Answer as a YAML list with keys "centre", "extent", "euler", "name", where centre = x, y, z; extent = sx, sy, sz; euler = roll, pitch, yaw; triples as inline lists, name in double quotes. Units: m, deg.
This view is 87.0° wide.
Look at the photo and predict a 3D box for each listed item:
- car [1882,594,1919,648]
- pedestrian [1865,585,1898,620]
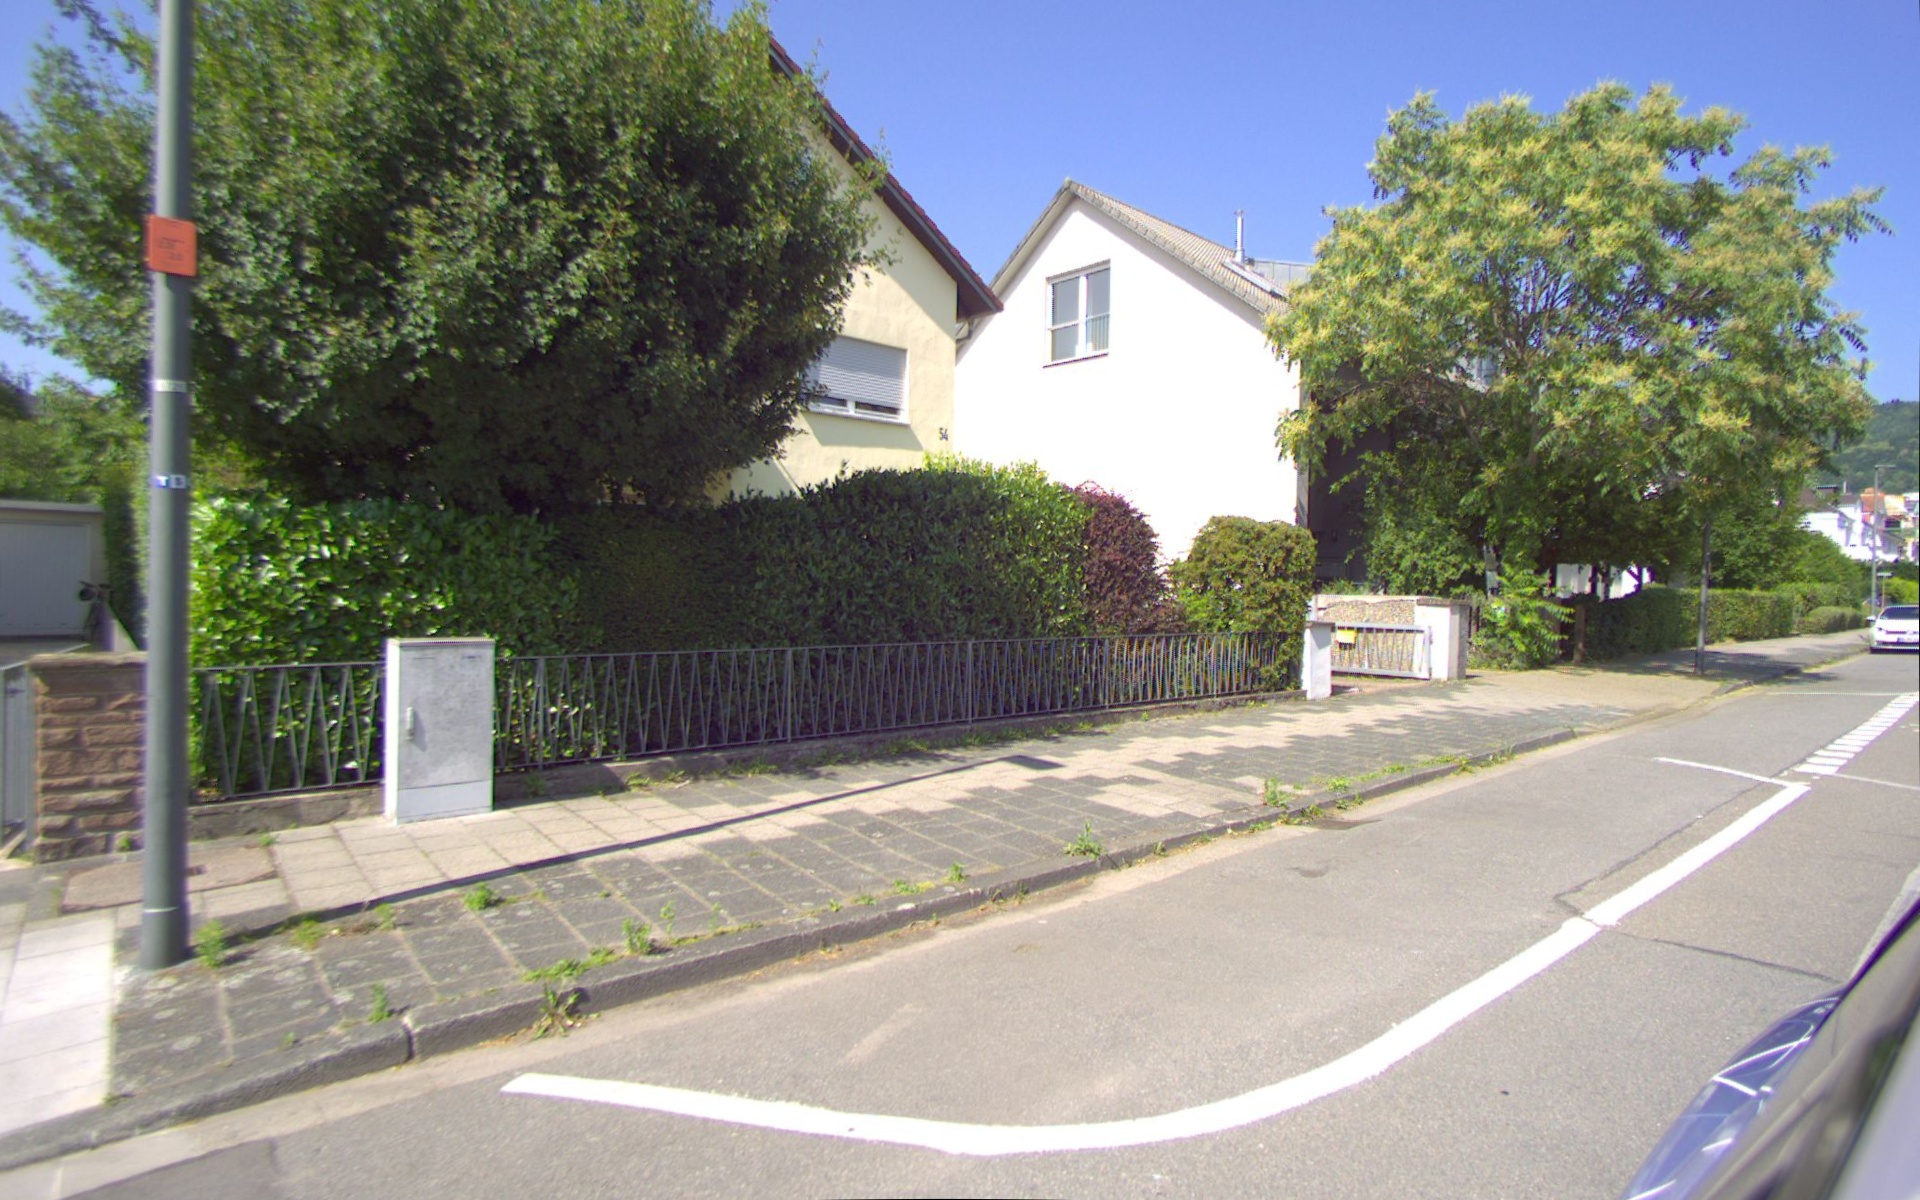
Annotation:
- centre: [27.159, 0.560, 28.301]
  extent: [4.006, 1.420, 1.742]
  euler: [-1, 0, -43]
  name: "car"
- centre: [51.346, 0.148, 56.389]
  extent: [0.889, 1.896, 1.183]
  euler: [1, 1, 15]
  name: "pedestrian"
